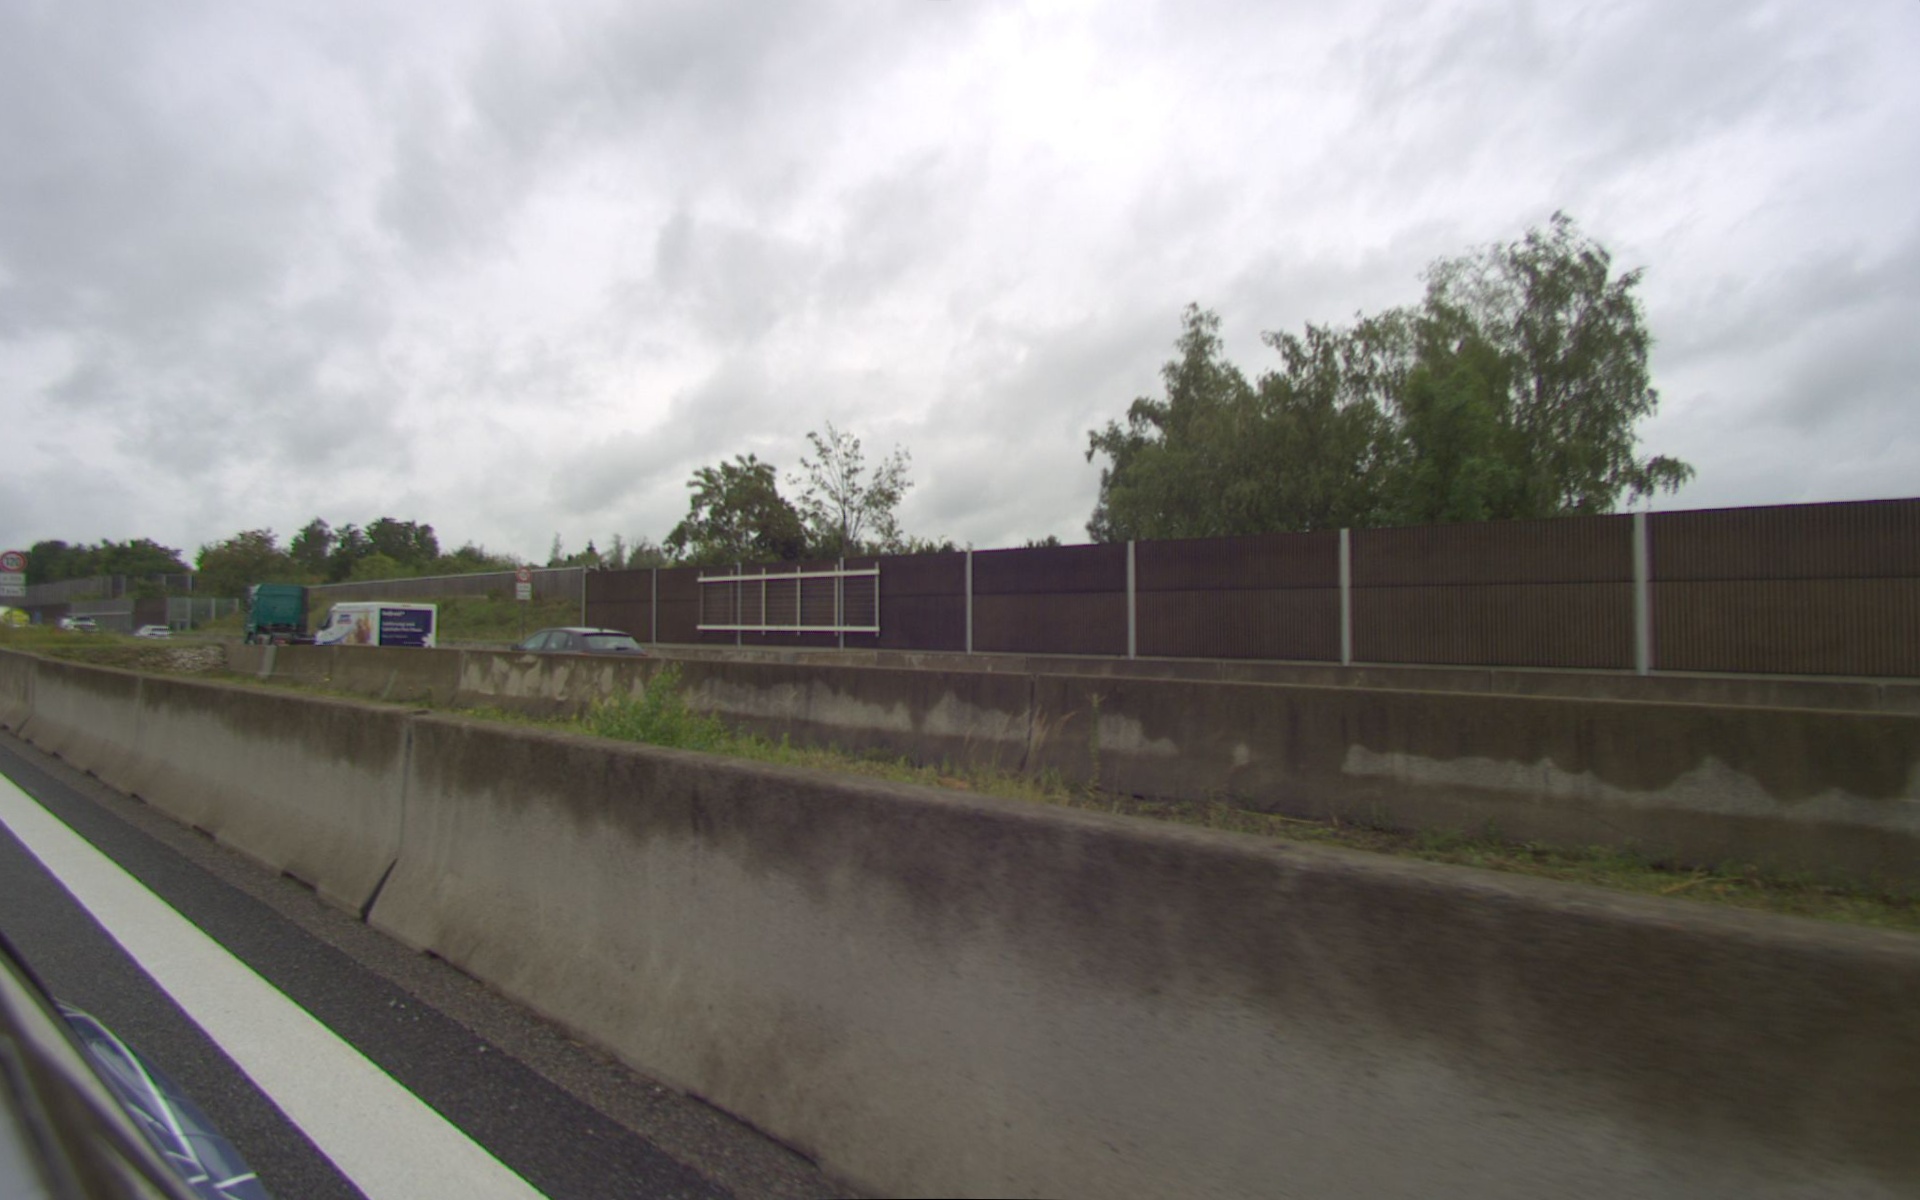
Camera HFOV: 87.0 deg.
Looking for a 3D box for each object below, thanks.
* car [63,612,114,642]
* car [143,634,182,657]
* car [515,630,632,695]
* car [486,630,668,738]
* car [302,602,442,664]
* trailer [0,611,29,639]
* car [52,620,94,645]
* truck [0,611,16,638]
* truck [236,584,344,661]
[{"bbox_3d":[-60.794,1.851,70.533,5.616,2.029,1.972,-1,-1,42],"label":"car"},{"bbox_3d":[-56.689,3.200,71.957,3.294,1.502,1.635,-1,0,42],"label":"car"},{"bbox_3d":[-13.035,2.030,34.061,3.997,1.996,1.973,-1,-1,40],"label":"car"},{"bbox_3d":[-7.898,1.617,20.714,3.999,1.936,1.848,-1,-1,42],"label":"car"},{"bbox_3d":[-21.146,1.142,36.231,7.055,2.029,2.191,-1,-1,41],"label":"car"},{"bbox_3d":[-108.855,2.827,115.324,10.787,3.012,2.585,-1,-1,40],"label":"trailer"},{"bbox_3d":[-76.656,2.806,87.437,5.950,2.029,1.887,-1,-1,41],"label":"car"},{"bbox_3d":[-113.199,2.868,118.932,5.171,3.042,2.596,-1,0,39],"label":"truck"},{"bbox_3d":[-36.172,1.152,54.526,7.516,3.867,2.833,-1,0,40],"label":"truck"}]
